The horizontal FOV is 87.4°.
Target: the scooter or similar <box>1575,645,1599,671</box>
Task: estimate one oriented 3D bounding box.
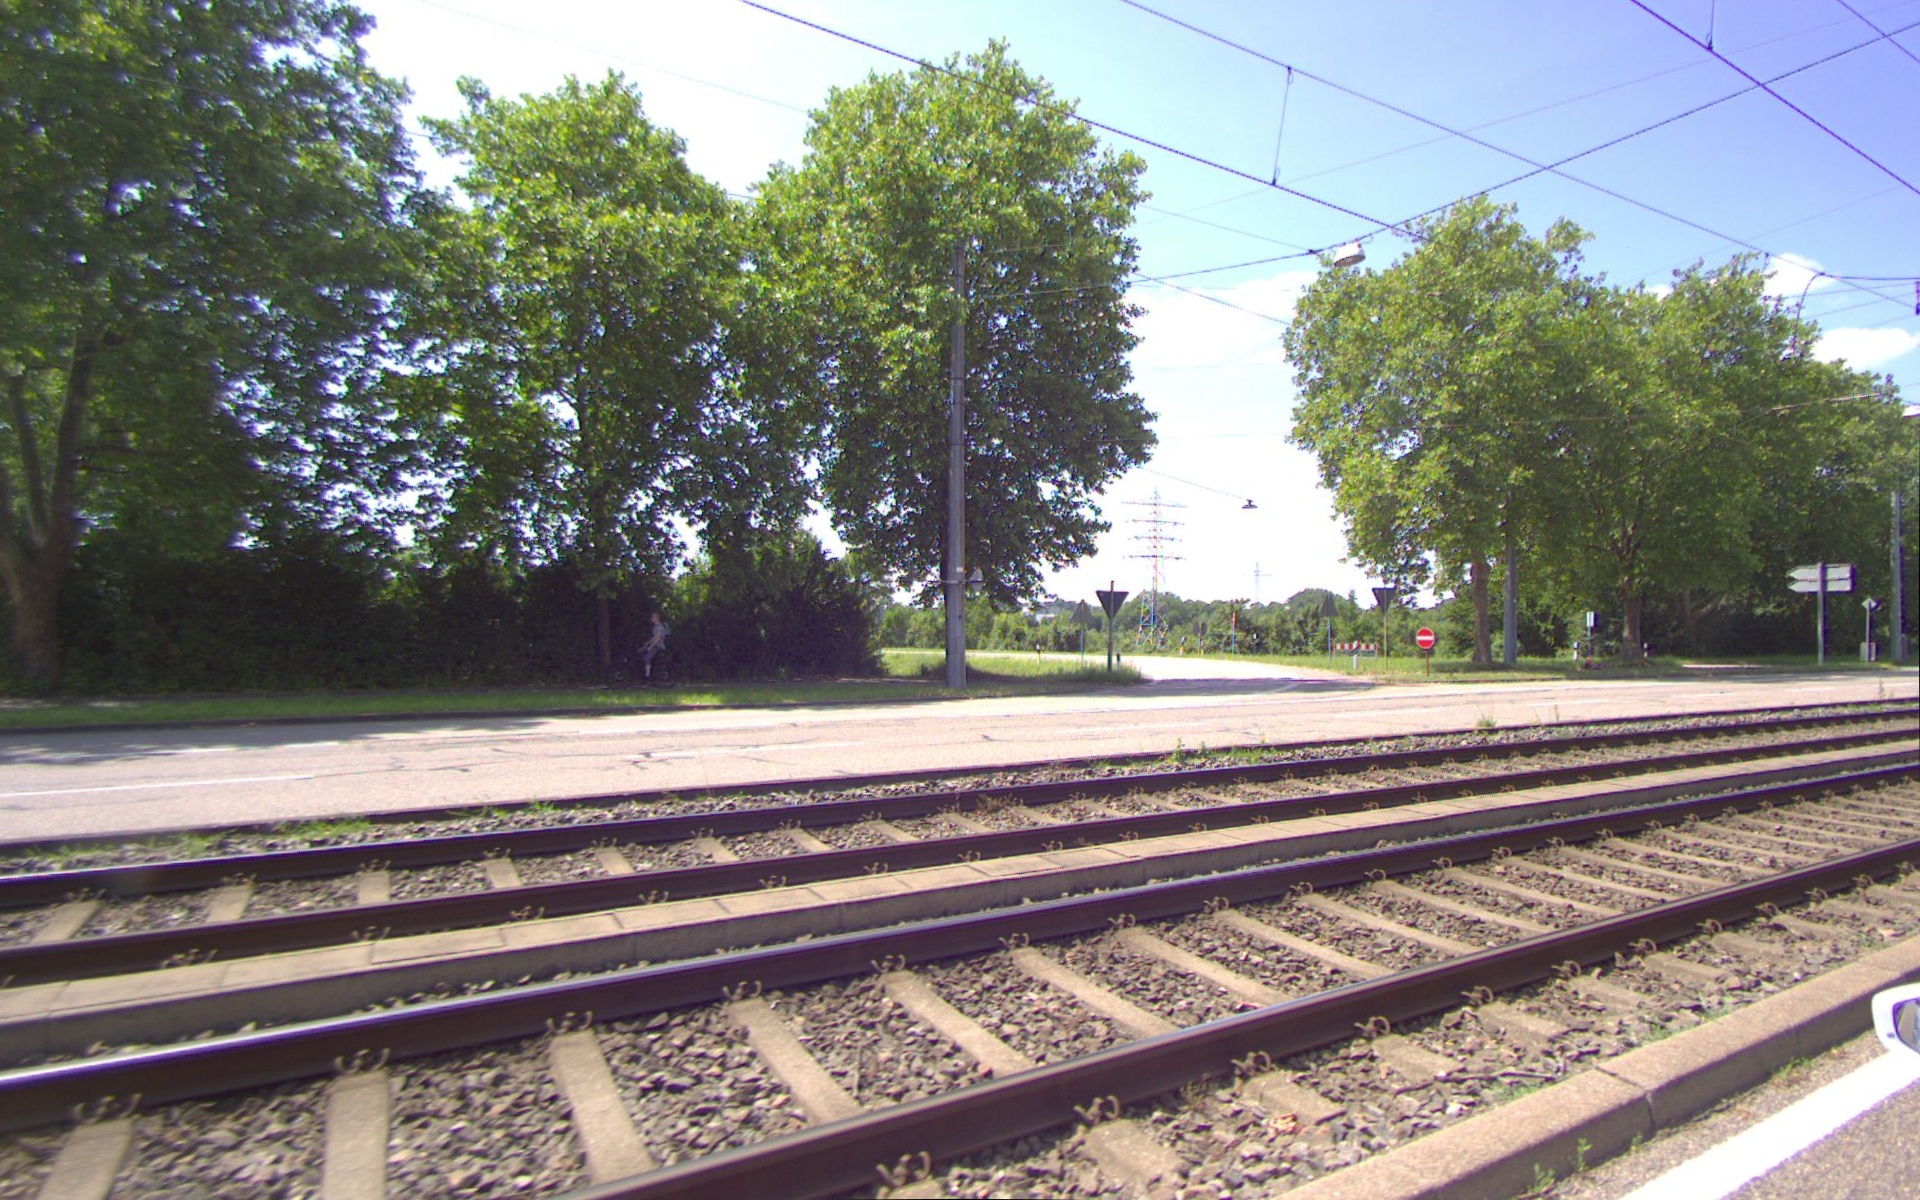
[{"bbox_3d":[25.527,2.373,40.882,0.982,1.036,0.298,1,2,-23],"label":"scooter or similar"}]

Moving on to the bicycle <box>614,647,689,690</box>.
[{"bbox_3d":[-7.630,1.686,24.841,1.733,1.001,0.731,1,-1,-18],"label":"bicycle"}]

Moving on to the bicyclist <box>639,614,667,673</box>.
[{"bbox_3d":[-7.586,1.073,24.863,0.635,1.448,0.585,1,-1,-17],"label":"bicyclist"}]
